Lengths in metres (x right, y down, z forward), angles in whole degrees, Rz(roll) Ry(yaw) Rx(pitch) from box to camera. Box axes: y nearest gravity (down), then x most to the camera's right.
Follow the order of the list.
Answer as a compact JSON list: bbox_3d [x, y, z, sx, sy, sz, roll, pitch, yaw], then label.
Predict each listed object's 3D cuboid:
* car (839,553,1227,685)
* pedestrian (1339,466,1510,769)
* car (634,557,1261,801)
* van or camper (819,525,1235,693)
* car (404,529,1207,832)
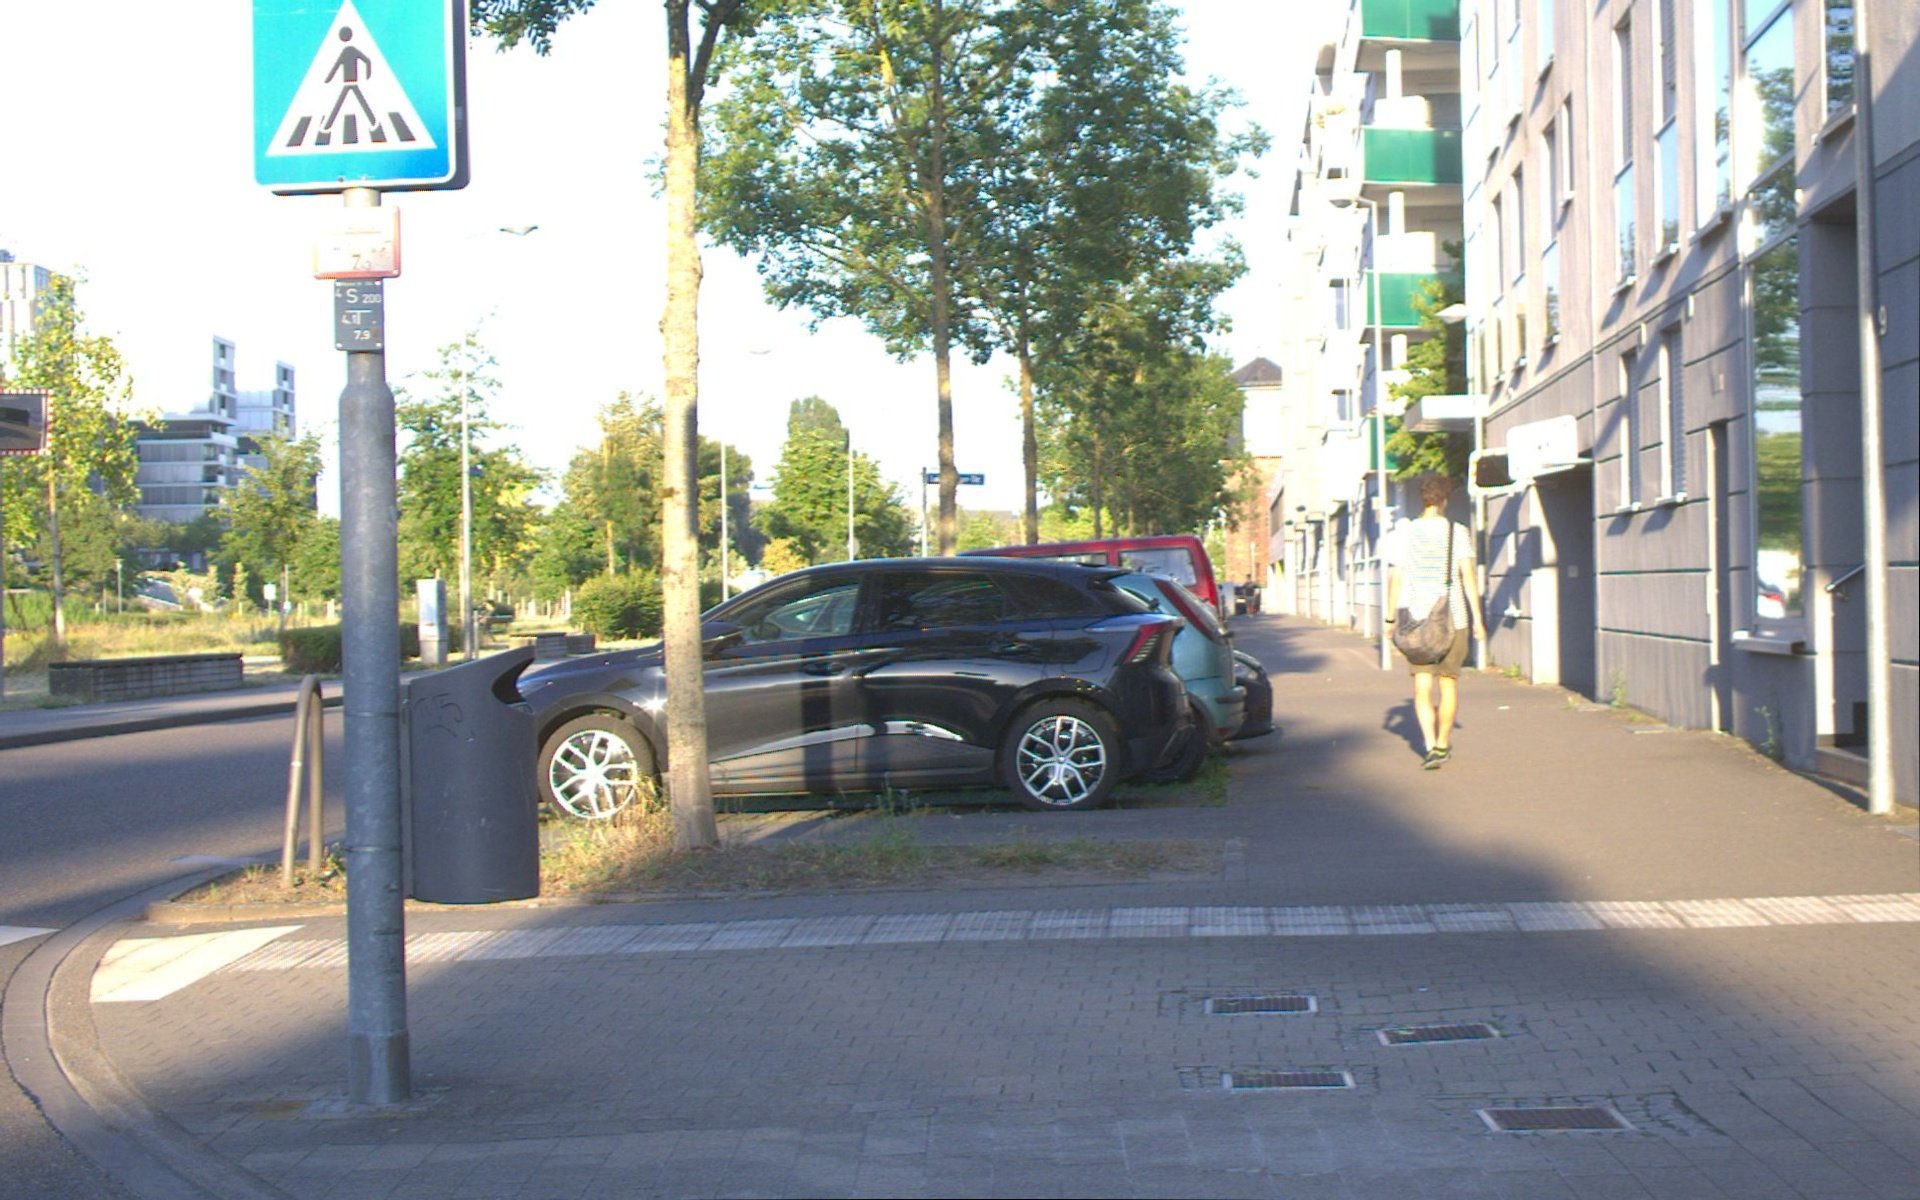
[{"bbox_3d":[0.871,0.218,40.352,4.452,1.516,1.701,0,0,3],"label":"car"},{"bbox_3d":[2.999,0.109,22.298,0.977,1.888,1.050,-2,0,4],"label":"pedestrian"},{"bbox_3d":[-0.057,0.504,23.015,3.993,1.369,1.559,-3,1,3],"label":"car"},{"bbox_3d":[0.847,0.113,43.195,5.115,2.053,1.878,0,0,2],"label":"van or camper"},{"bbox_3d":[-0.843,0.454,20.288,4.466,1.482,1.833,-3,0,3],"label":"car"}]
